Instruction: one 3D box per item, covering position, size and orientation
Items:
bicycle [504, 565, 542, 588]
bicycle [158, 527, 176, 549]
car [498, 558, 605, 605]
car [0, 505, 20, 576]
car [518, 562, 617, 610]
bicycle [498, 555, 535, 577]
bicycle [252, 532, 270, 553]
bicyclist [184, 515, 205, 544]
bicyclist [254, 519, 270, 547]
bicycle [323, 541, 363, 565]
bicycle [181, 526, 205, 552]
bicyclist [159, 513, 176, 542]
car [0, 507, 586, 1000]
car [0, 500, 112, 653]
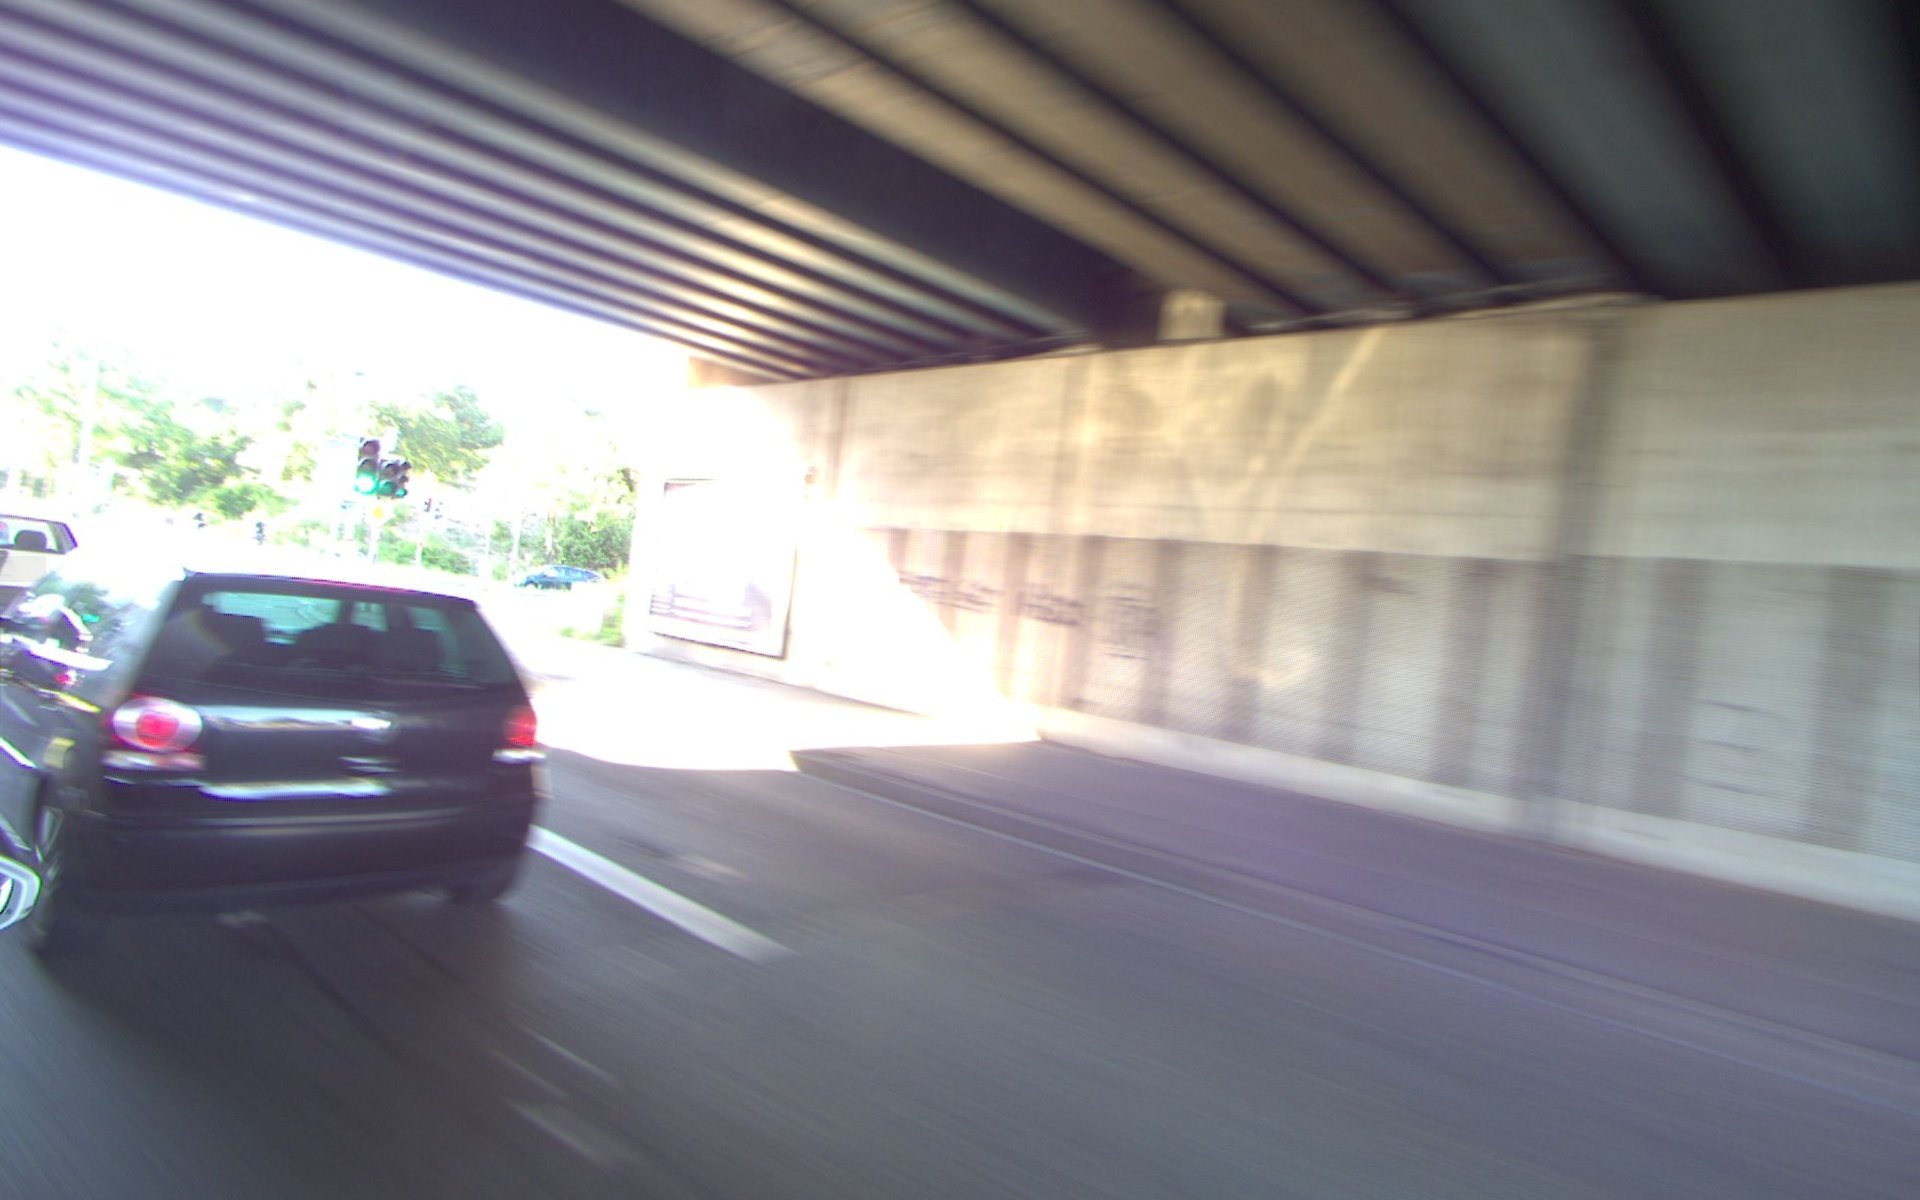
[{"bbox_3d":[-24.693,-1.328,56.814,1.781,0.992,0.633,9,-1,-34],"label":"bicycle"},{"bbox_3d":[-35.658,-2.789,45.210,1.013,0.926,0.436,6,1,43],"label":"bicycle"},{"bbox_3d":[-18.727,-0.836,46.206,3.975,1.547,1.977,10,-3,-42],"label":"car"},{"bbox_3d":[-20.321,-1.379,20.016,3.946,1.309,1.992,5,-3,43],"label":"car"},{"bbox_3d":[-18.995,-0.653,48.760,3.975,1.712,1.841,10,-3,-42],"label":"car"},{"bbox_3d":[-25.545,-1.979,57.982,1.781,0.991,0.633,9,-2,-34],"label":"bicycle"},{"bbox_3d":[-34.593,-2.845,49.783,1.013,0.925,0.437,6,-2,43],"label":"bicycle"},{"bbox_3d":[-37.567,-3.458,49.396,0.824,1.331,0.543,6,-2,43],"label":"bicyclist"},{"bbox_3d":[-34.535,-3.298,49.789,0.453,1.323,0.427,6,-2,43],"label":"bicyclist"},{"bbox_3d":[-31.502,-2.393,51.416,1.650,1.004,0.573,7,3,-31],"label":"bicycle"},{"bbox_3d":[-37.669,-3.007,49.411,1.600,1.125,0.564,6,-2,43],"label":"bicycle"},{"bbox_3d":[-35.707,-3.281,45.309,0.453,1.248,0.427,6,0,43],"label":"bicyclist"},{"bbox_3d":[-3.494,0.425,4.749,3.633,1.425,1.615,5,-3,42],"label":"car"},{"bbox_3d":[-10.942,-0.399,11.239,4.007,1.429,1.577,5,-3,42],"label":"car"}]
